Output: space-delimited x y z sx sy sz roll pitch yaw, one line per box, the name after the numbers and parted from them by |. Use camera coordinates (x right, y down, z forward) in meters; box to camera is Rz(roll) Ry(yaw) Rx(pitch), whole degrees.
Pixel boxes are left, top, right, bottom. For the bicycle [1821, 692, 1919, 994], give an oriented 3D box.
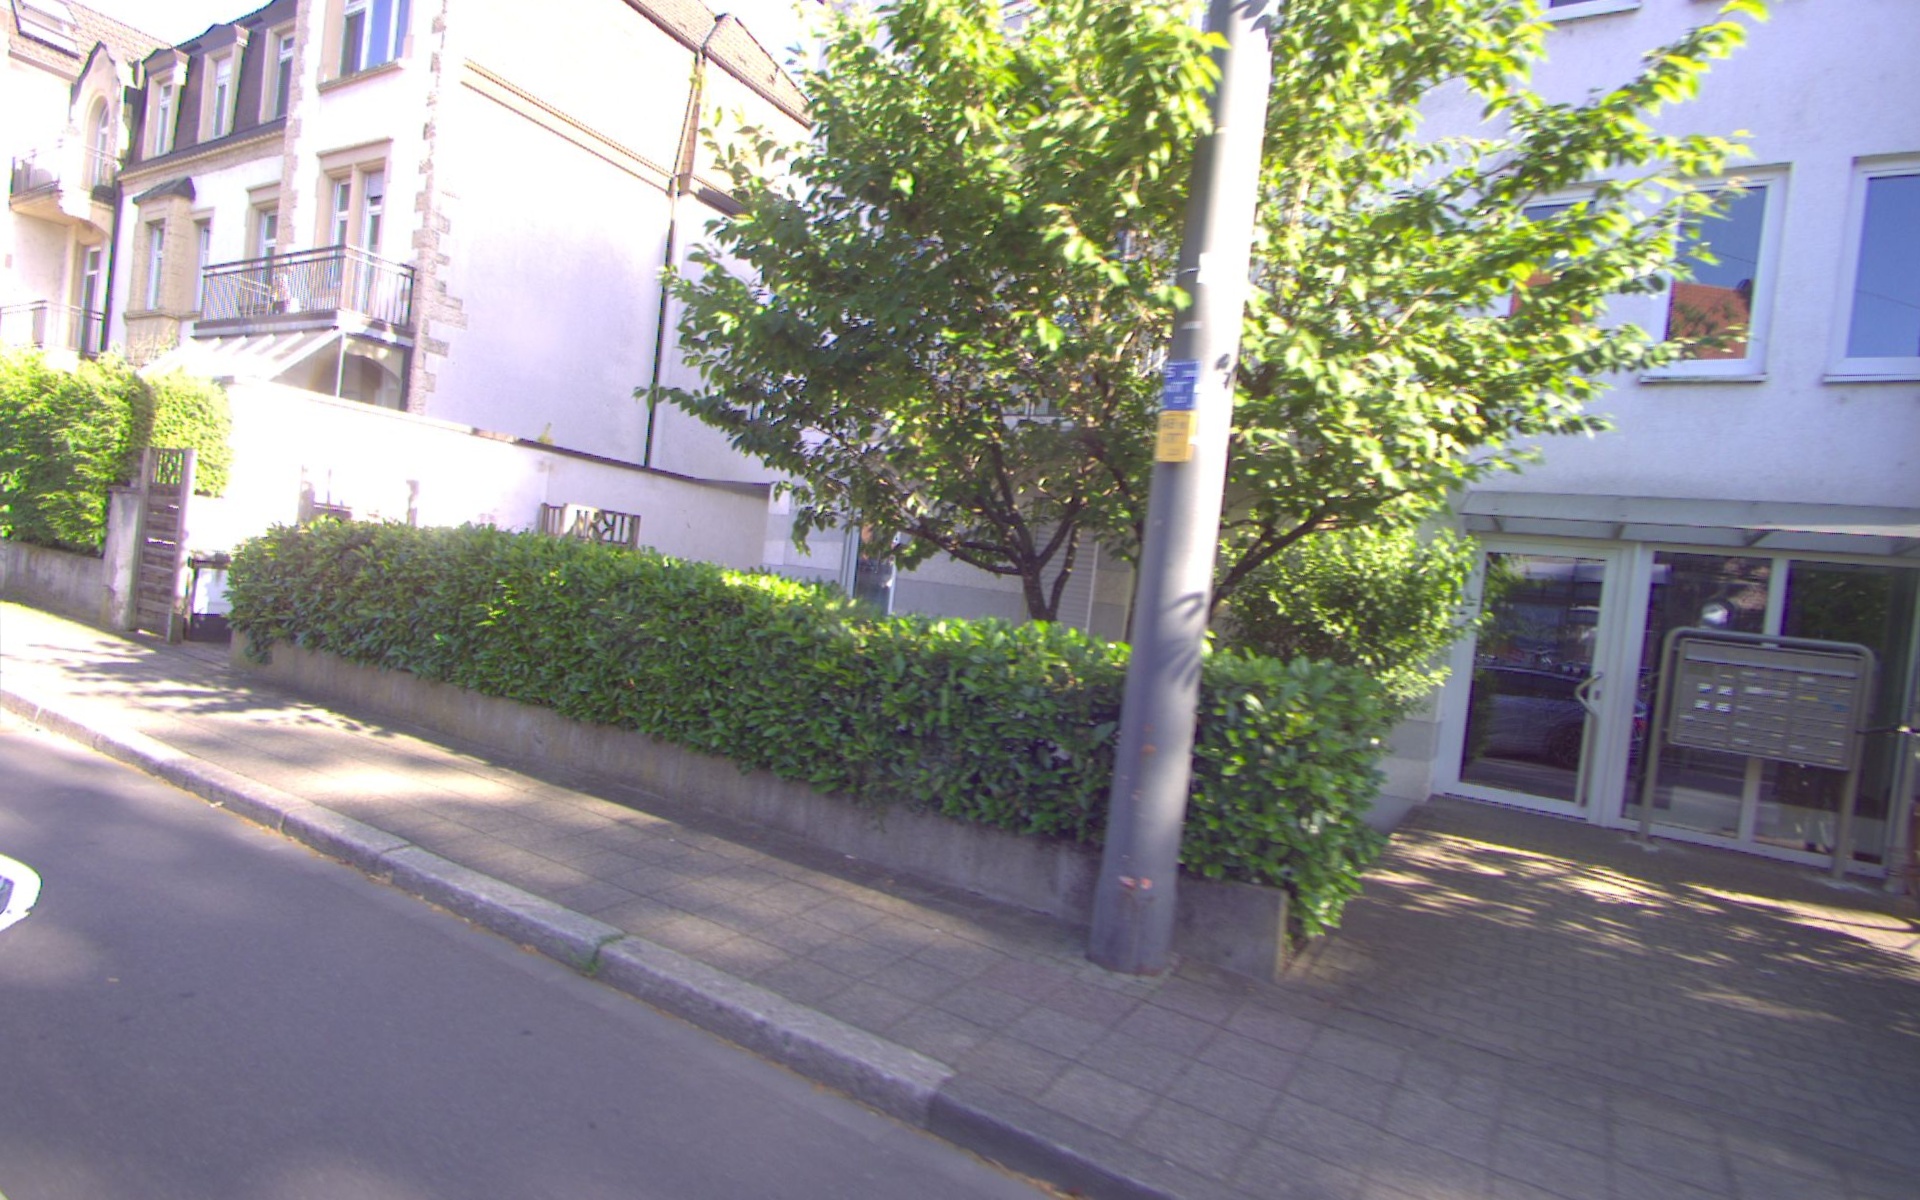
5.128 1.193 5.041 0.811 1.220 1.840 7 4 31 | bicycle
